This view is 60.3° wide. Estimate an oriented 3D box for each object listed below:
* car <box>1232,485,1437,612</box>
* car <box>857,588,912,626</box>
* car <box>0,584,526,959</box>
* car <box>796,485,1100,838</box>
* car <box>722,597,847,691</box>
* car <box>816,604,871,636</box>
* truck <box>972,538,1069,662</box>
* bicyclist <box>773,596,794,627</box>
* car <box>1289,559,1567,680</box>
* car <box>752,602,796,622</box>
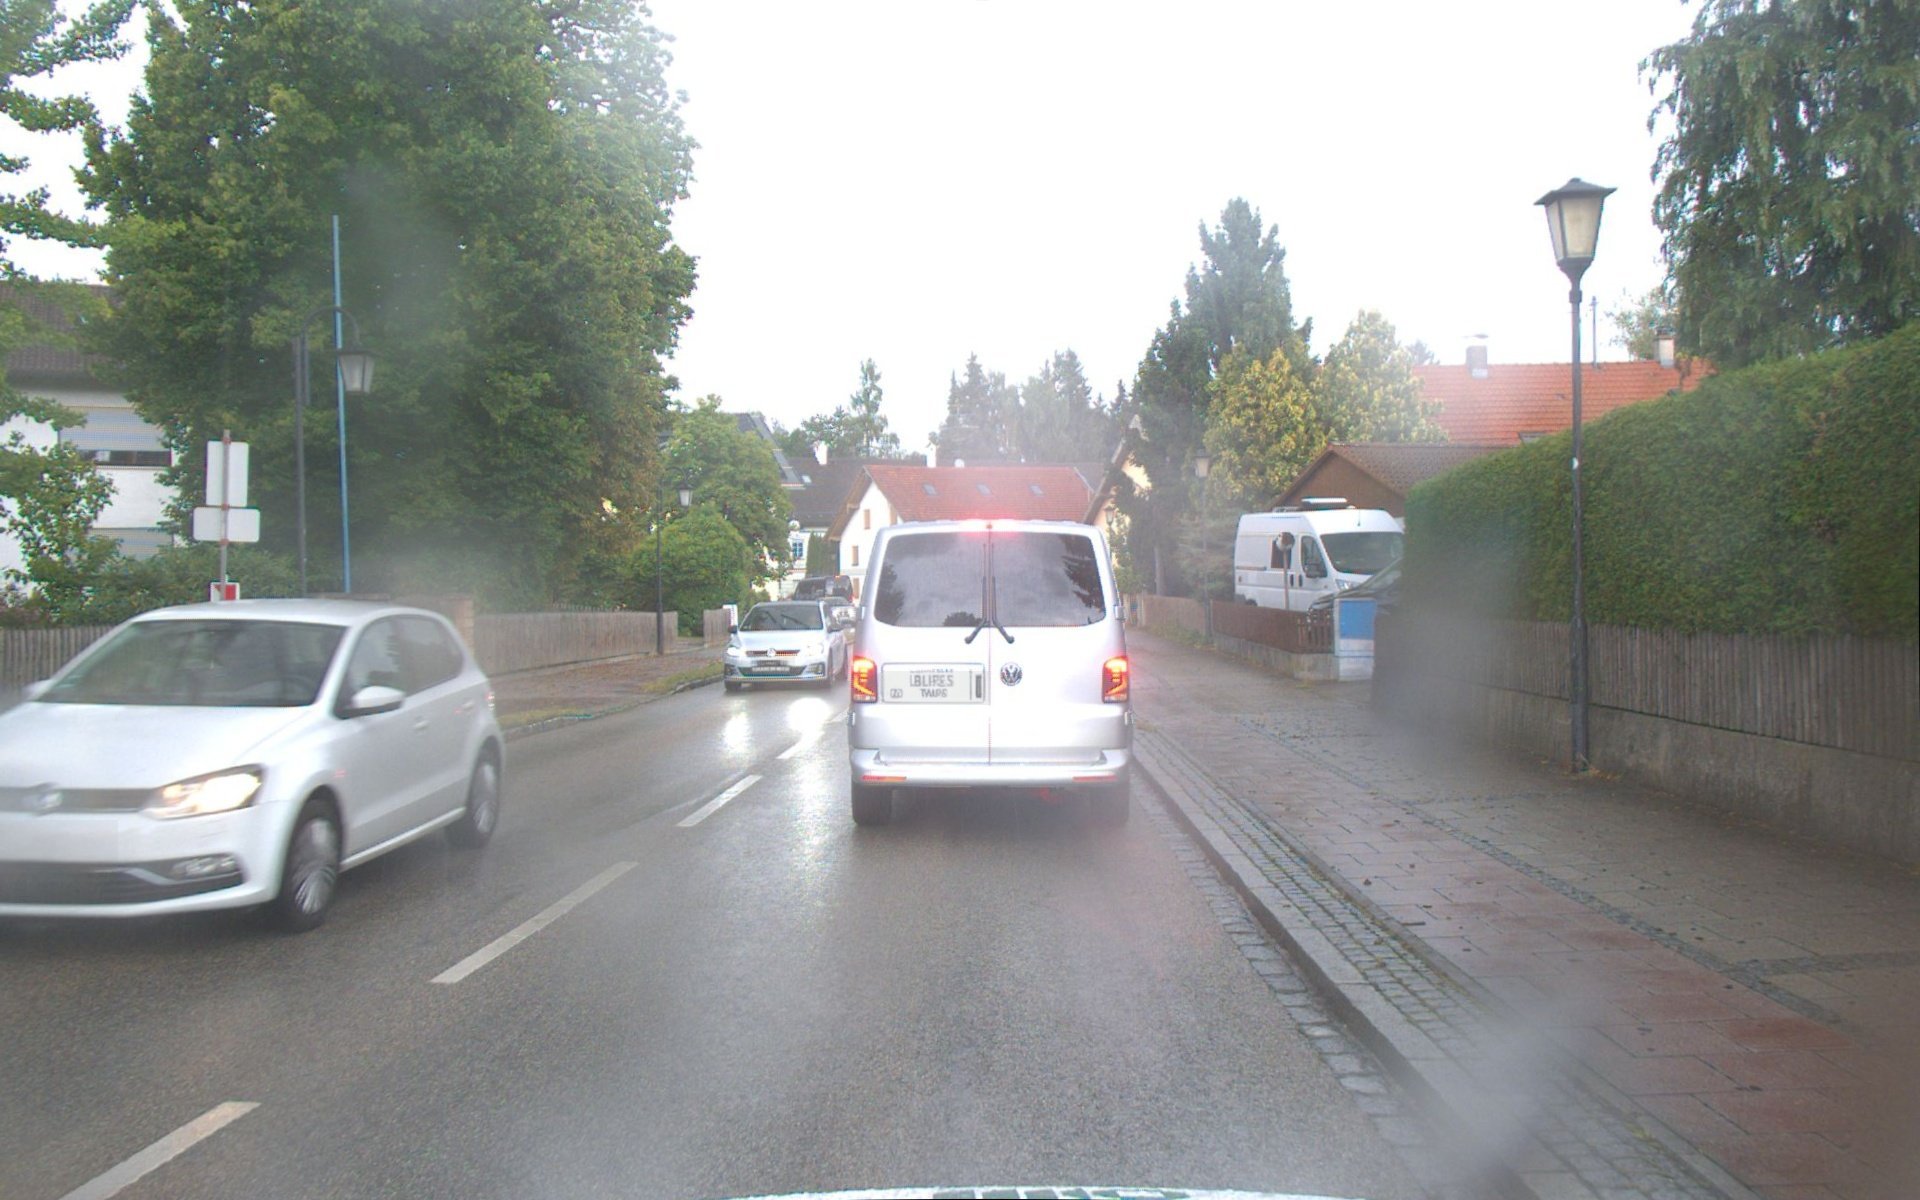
[{"bbox_3d":[7.090,-0.888,31.920,1.959,2.212,4.937,1,-1,-12],"label":"car"},{"bbox_3d":[-4.220,0.399,91.632,1.964,2.049,3.977,1,-1,-19],"label":"car"},{"bbox_3d":[-3.544,0.692,8.351,1.584,1.470,3.671,0,-1,2],"label":"car"},{"bbox_3d":[0.039,0.378,11.726,1.763,2.049,4.001,1,-1,3],"label":"car"},{"bbox_3d":[-2.935,0.723,28.330,1.681,1.467,4.000,1,-1,0],"label":"car"},{"bbox_3d":[-6.120,1.036,86.335,1.800,1.586,4.153,-1,-1,-20],"label":"car"},{"bbox_3d":[1.555,0.036,45.201,2.424,3.128,6.296,1,-1,0],"label":"truck"},{"bbox_3d":[-5.826,0.377,54.726,0.575,1.039,1.060,0,0,0],"label":"bicyclist"},{"bbox_3d":[7.528,0.281,26.812,4.011,1.782,1.694,-1,2,-3],"label":"car"},{"bbox_3d":[-12.545,0.794,111.186,1.758,1.333,3.743,1,-1,-26],"label":"car"}]
